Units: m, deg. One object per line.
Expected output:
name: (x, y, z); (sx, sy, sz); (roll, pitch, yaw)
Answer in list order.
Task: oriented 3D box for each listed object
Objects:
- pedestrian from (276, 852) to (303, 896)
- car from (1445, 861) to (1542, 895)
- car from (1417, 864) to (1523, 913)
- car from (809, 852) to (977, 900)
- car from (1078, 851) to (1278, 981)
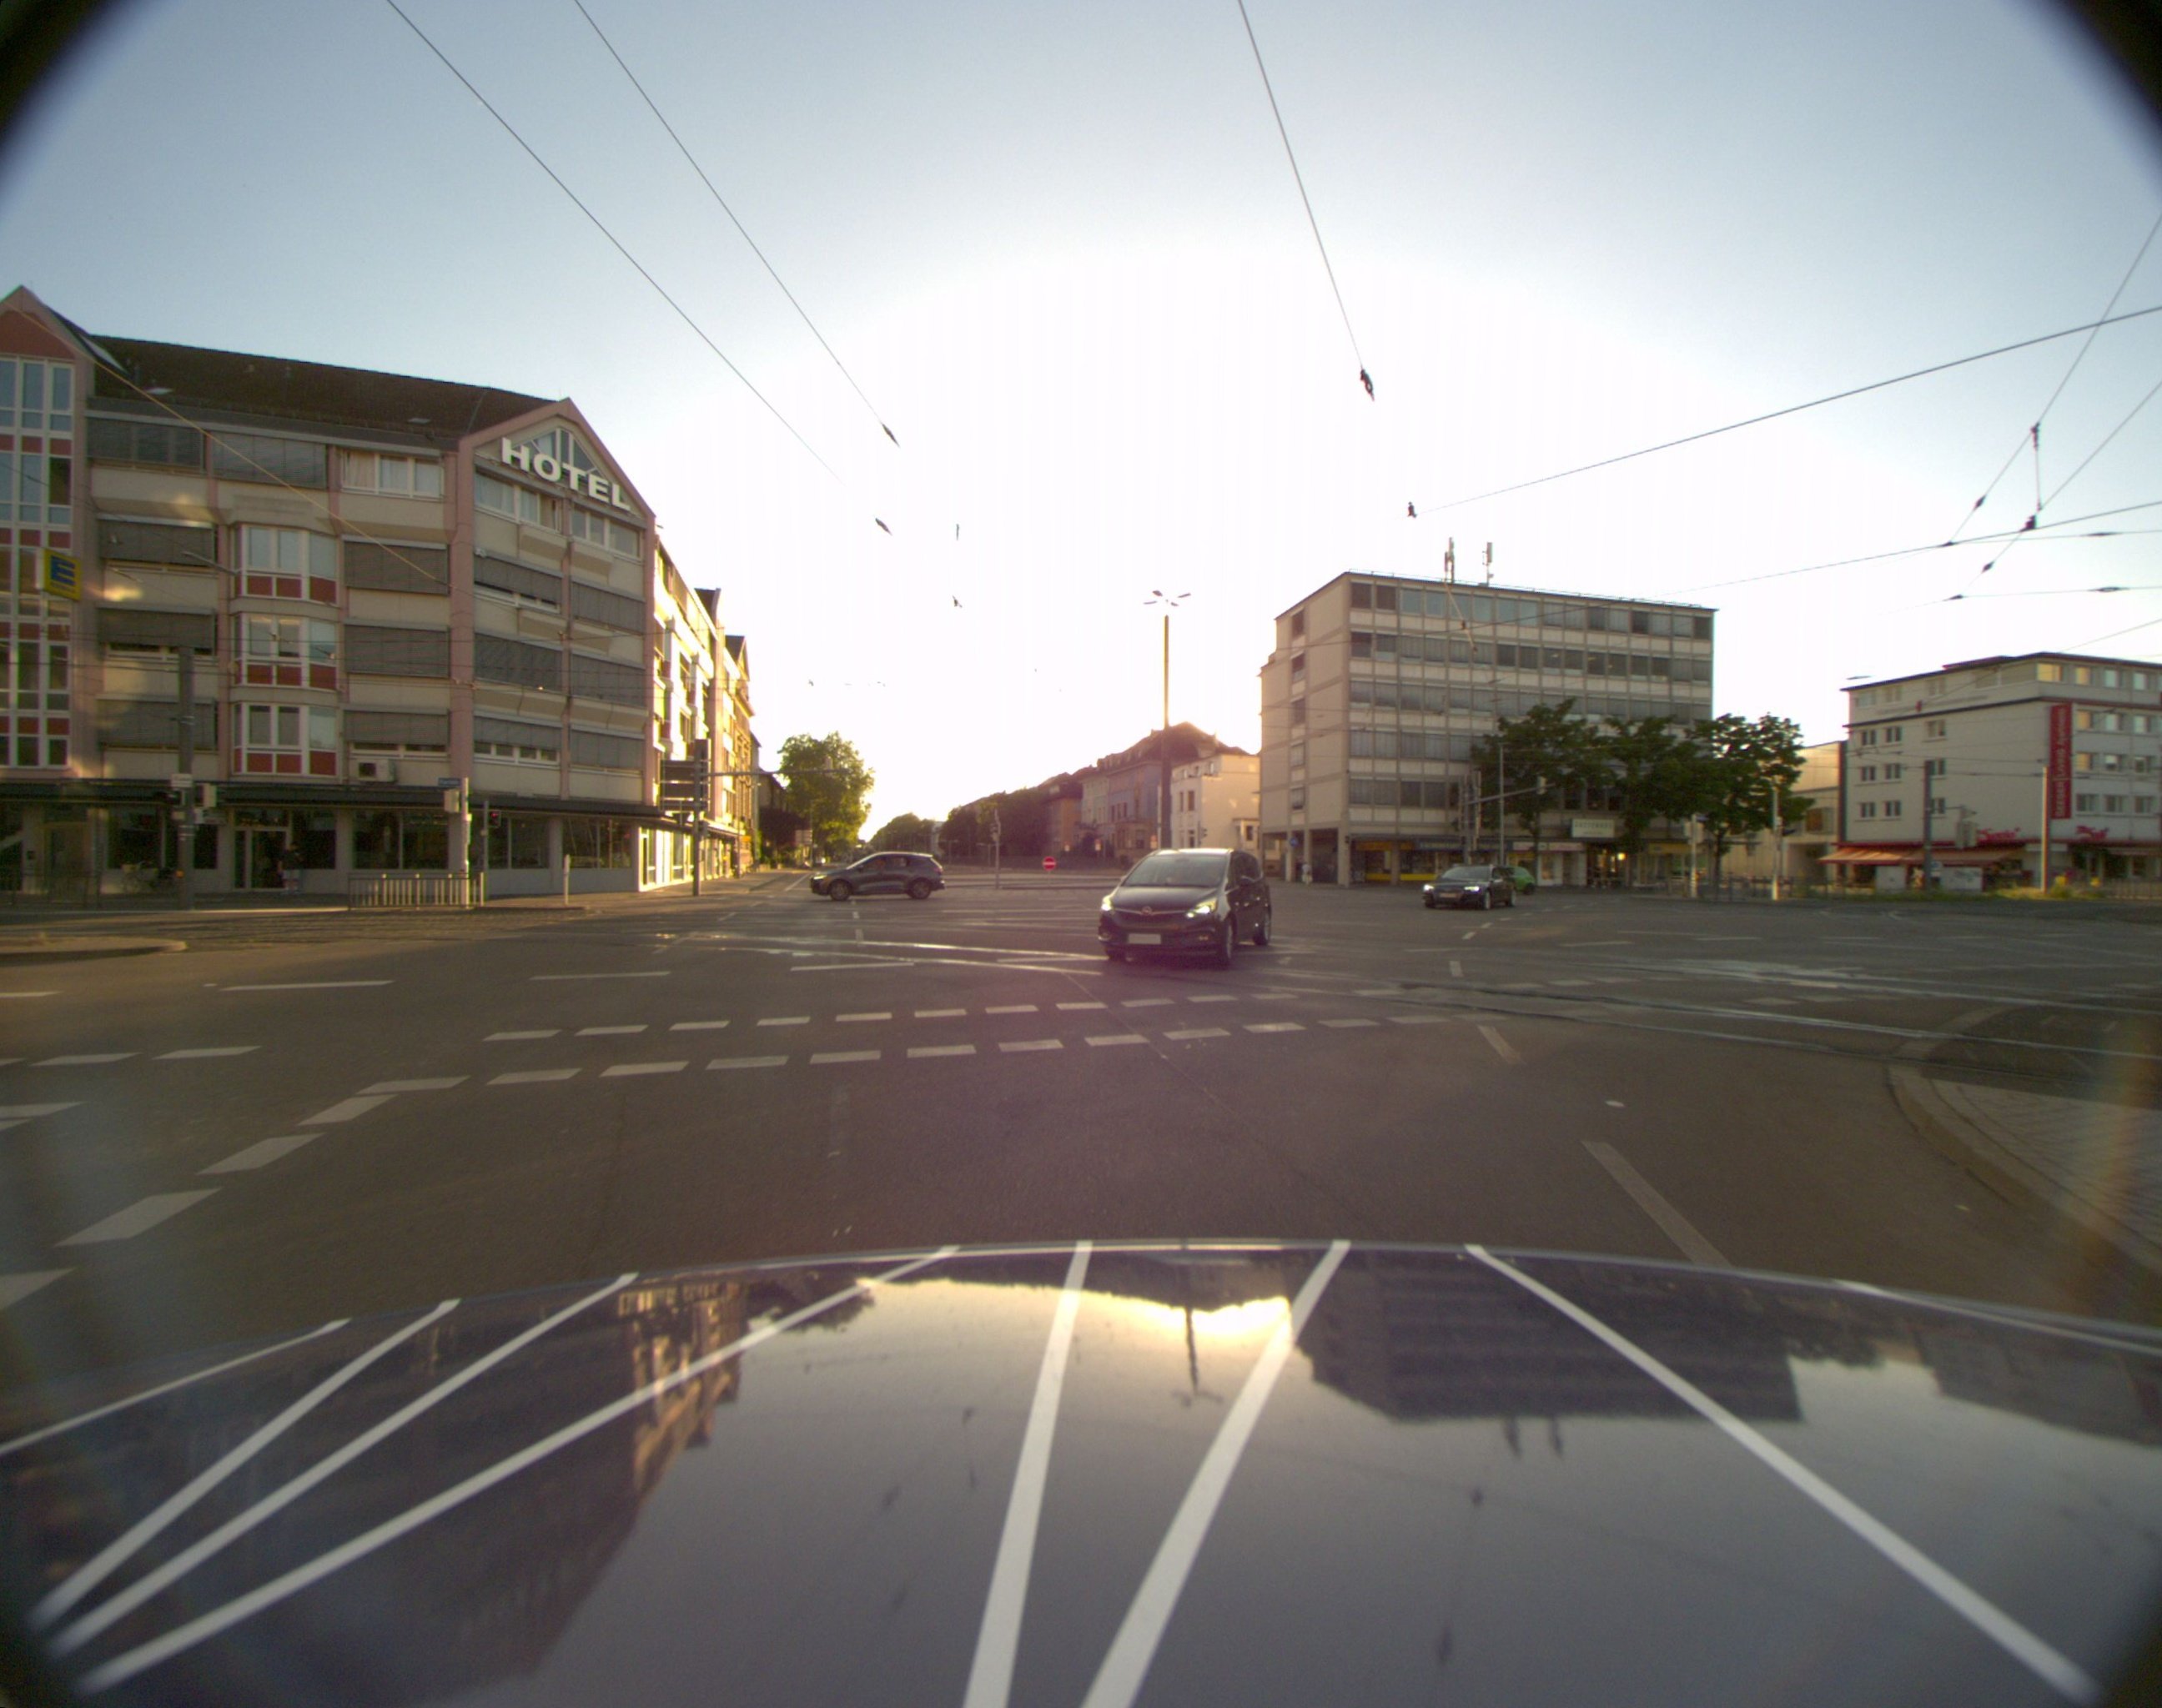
pedestrian: (-27.123, 0.681, 26.031); (0.471, 1.484, 0.478); (0, 0, 20)
car: (19.876, 1.140, 36.614); (4.026, 1.557, 1.747); (0, 0, -16)
car: (12.530, 1.048, 24.357); (1.846, 1.399, 4.234); (0, 0, 44)
car: (-6.715, 0.754, 27.179); (5.584, 1.618, 2.027); (0, 0, -22)
car: (1.722, 0.784, 11.807); (1.797, 1.609, 4.395); (0, 0, 25)
